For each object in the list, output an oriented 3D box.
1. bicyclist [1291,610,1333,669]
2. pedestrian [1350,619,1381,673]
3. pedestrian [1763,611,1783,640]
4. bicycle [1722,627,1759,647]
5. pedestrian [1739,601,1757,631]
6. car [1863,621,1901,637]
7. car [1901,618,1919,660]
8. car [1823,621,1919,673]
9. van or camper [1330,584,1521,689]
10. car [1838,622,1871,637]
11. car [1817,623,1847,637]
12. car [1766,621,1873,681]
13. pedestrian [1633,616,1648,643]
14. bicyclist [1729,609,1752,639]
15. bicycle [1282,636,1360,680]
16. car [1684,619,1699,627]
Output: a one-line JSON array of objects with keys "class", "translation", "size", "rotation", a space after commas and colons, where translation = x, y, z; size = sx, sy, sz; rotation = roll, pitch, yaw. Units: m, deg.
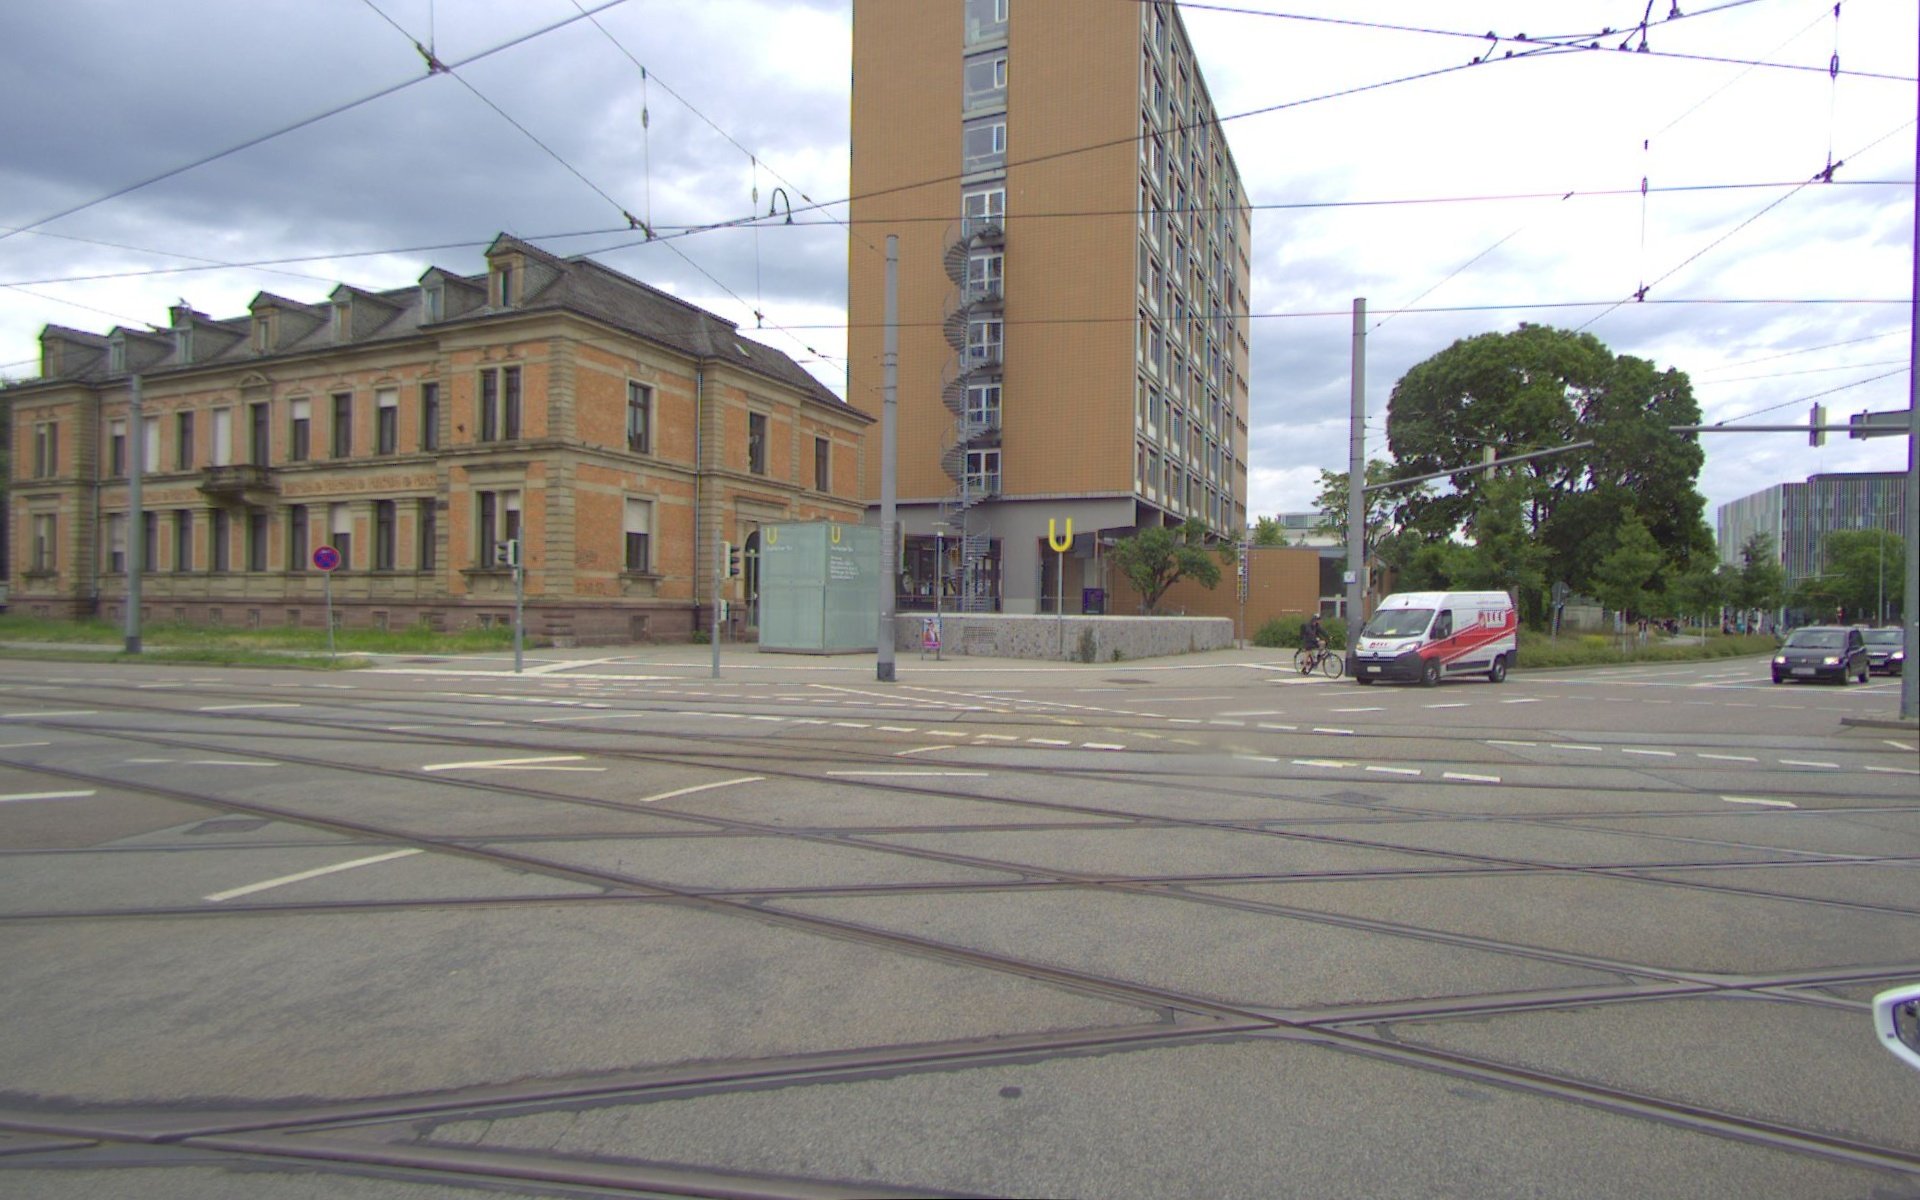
[{"class": "bicyclist", "translation": [10.265, 1.144, 29.266], "size": [0.784, 1.679, 0.808], "rotation": [1, 1, -31]}, {"class": "pedestrian", "translation": [12.172, 1.364, 30.146], "size": [0.742, 1.572, 0.574], "rotation": [0, 0, -35]}, {"class": "pedestrian", "translation": [52.697, 1.633, 65.109], "size": [0.662, 1.867, 0.885], "rotation": [1, 0, -43]}, {"class": "bicycle", "translation": [48.156, 2.292, 61.991], "size": [1.873, 1.174, 0.789], "rotation": [1, 0, -13]}, {"class": "pedestrian", "translation": [49.671, 1.019, 63.314], "size": [0.761, 1.867, 0.750], "rotation": [1, -1, -43]}, {"class": "car", "translation": [105.246, 3.287, 114.698], "size": [1.962, 1.773, 3.998], "rotation": [0, -1, 24]}, {"class": "car", "translation": [41.966, 1.629, 43.095], "size": [4.676, 1.748, 1.854], "rotation": [1, -2, -41]}, {"class": "car", "translation": [29.150, 1.452, 31.897], "size": [4.441, 1.528, 1.856], "rotation": [1, -3, -39]}, {"class": "van or camper", "translation": [12.666, 0.937, 27.174], "size": [5.518, 2.561, 2.264], "rotation": [1, -1, -35]}, {"class": "car", "translation": [103.086, 3.332, 115.826], "size": [1.963, 1.662, 3.994], "rotation": [0, -1, 28]}, {"class": "car", "translation": [107.060, 3.643, 123.321], "size": [1.964, 1.704, 4.004], "rotation": [0, -1, 28]}, {"class": "car", "translation": [23.417, 1.334, 27.336], "size": [3.634, 1.535, 1.605], "rotation": [1, -1, -39]}, {"class": "pedestrian", "translation": [40.825, 1.766, 60.267], "size": [0.750, 1.562, 0.556], "rotation": [1, 0, -44]}, {"class": "bicyclist", "translation": [48.164, 1.487, 61.988], "size": [0.820, 1.869, 0.790], "rotation": [1, 0, -14]}, {"class": "bicycle", "translation": [10.399, 1.647, 29.012], "size": [0.786, 1.042, 2.102], "rotation": [-1, 3, -30]}, {"class": "car", "translation": [132.359, 4.194, 181.710], "size": [1.685, 1.282, 3.336], "rotation": [0, -2, 26]}]
